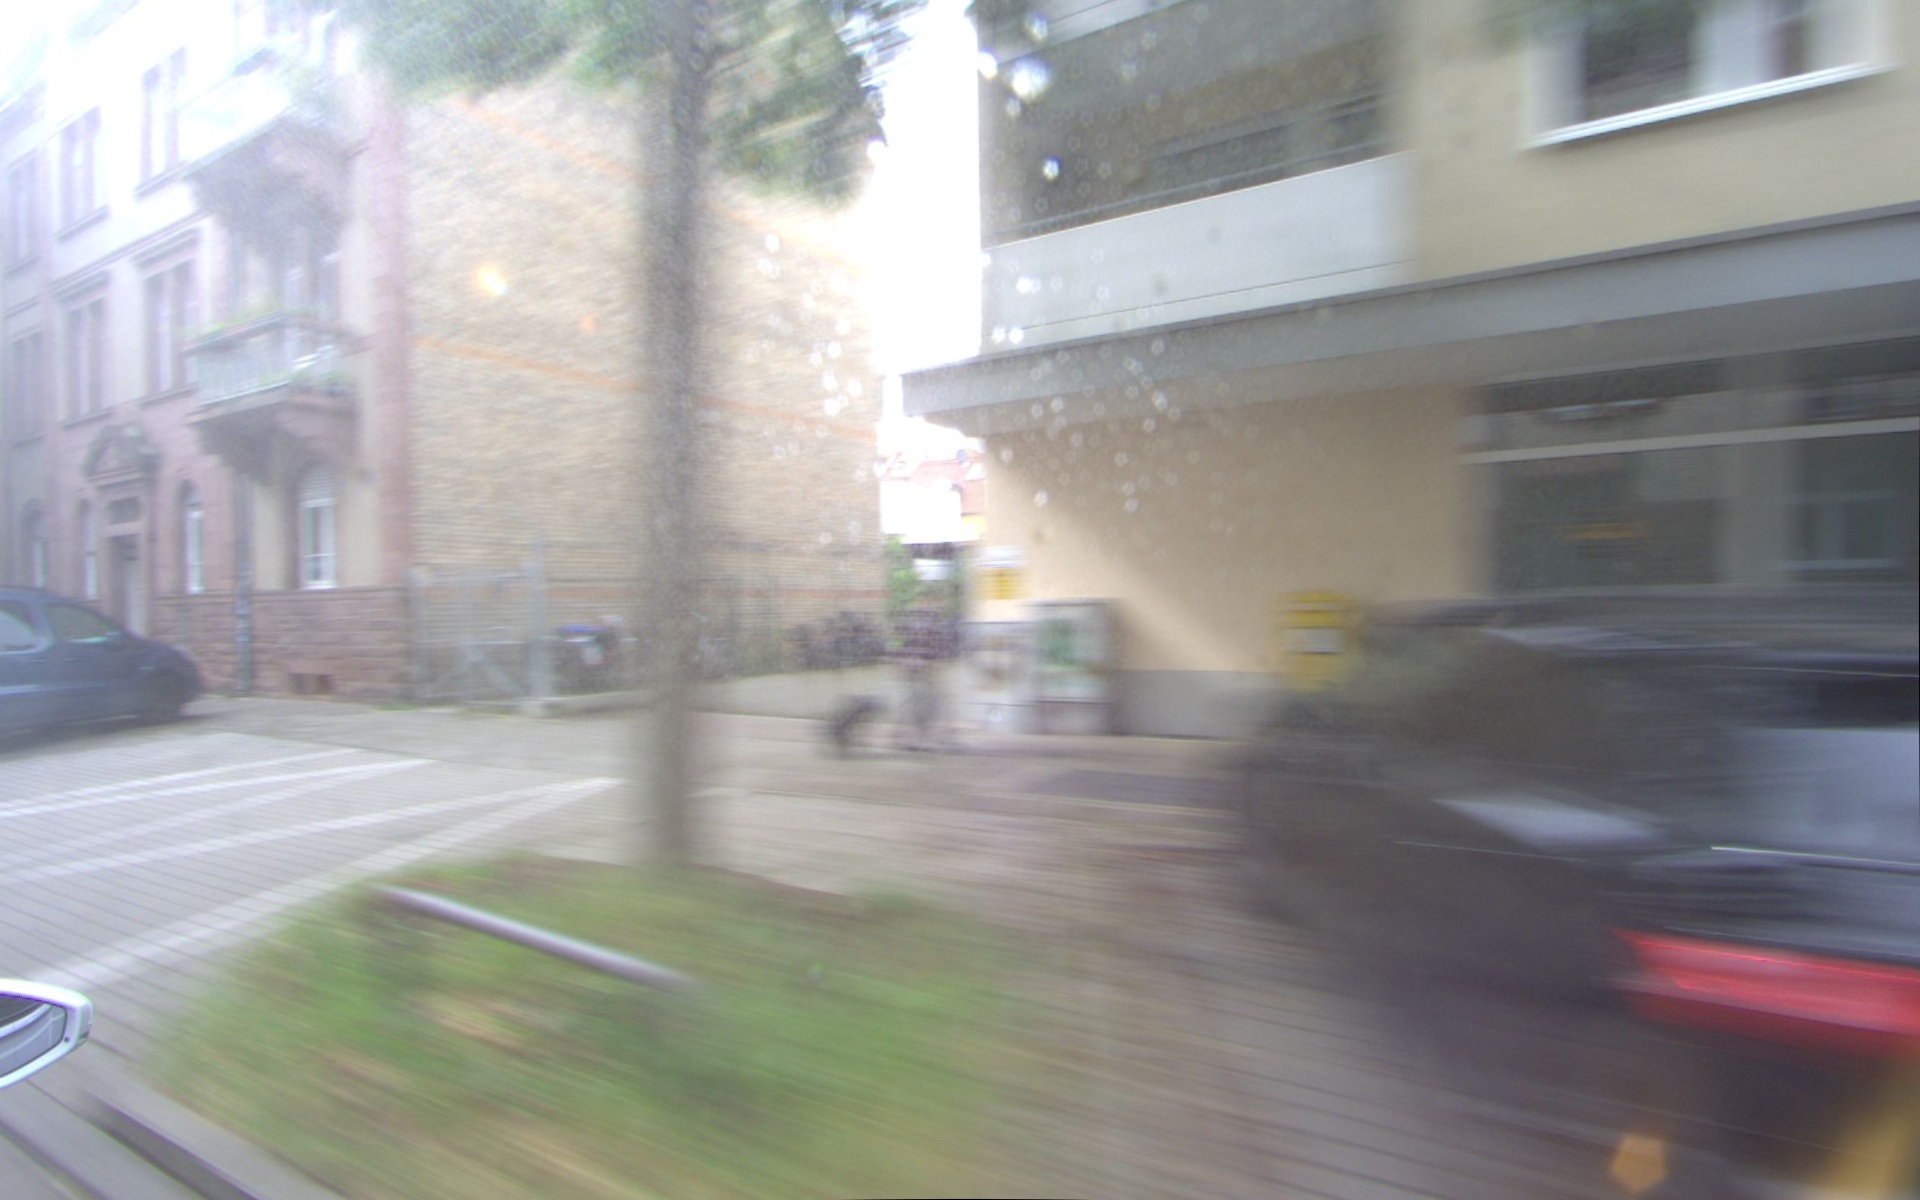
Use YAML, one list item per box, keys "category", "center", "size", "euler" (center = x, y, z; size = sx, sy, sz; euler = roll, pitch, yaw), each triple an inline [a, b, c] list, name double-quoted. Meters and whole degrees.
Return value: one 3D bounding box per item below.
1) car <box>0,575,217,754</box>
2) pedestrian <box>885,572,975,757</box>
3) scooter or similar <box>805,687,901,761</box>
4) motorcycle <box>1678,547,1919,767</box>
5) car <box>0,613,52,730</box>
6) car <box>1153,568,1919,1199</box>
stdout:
- category: "car"
  center: [-11.182, 0.702, 11.507]
  size: [1.961, 1.895, 4.183]
  euler: [-2, 2, 2]
- category: "pedestrian"
  center: [-0.259, 0.548, 8.839]
  size: [0.572, 1.560, 0.575]
  euler: [0, 0, 31]
- category: "scooter or similar"
  center: [-0.938, 1.074, 8.783]
  size: [0.646, 0.580, 0.530]
  euler: [-2, -1, 29]
- category: "motorcycle"
  center: [5.921, 0.333, 6.308]
  size: [2.220, 1.319, 0.676]
  euler: [-1, 3, 32]
- category: "car"
  center: [-13.955, 0.976, 12.316]
  size: [1.848, 1.580, 4.023]
  euler: [-1, 0, 1]
- category: "car"
  center: [2.030, 0.624, 3.431]
  size: [1.886, 1.412, 4.312]
  euler: [-2, 2, 0]
